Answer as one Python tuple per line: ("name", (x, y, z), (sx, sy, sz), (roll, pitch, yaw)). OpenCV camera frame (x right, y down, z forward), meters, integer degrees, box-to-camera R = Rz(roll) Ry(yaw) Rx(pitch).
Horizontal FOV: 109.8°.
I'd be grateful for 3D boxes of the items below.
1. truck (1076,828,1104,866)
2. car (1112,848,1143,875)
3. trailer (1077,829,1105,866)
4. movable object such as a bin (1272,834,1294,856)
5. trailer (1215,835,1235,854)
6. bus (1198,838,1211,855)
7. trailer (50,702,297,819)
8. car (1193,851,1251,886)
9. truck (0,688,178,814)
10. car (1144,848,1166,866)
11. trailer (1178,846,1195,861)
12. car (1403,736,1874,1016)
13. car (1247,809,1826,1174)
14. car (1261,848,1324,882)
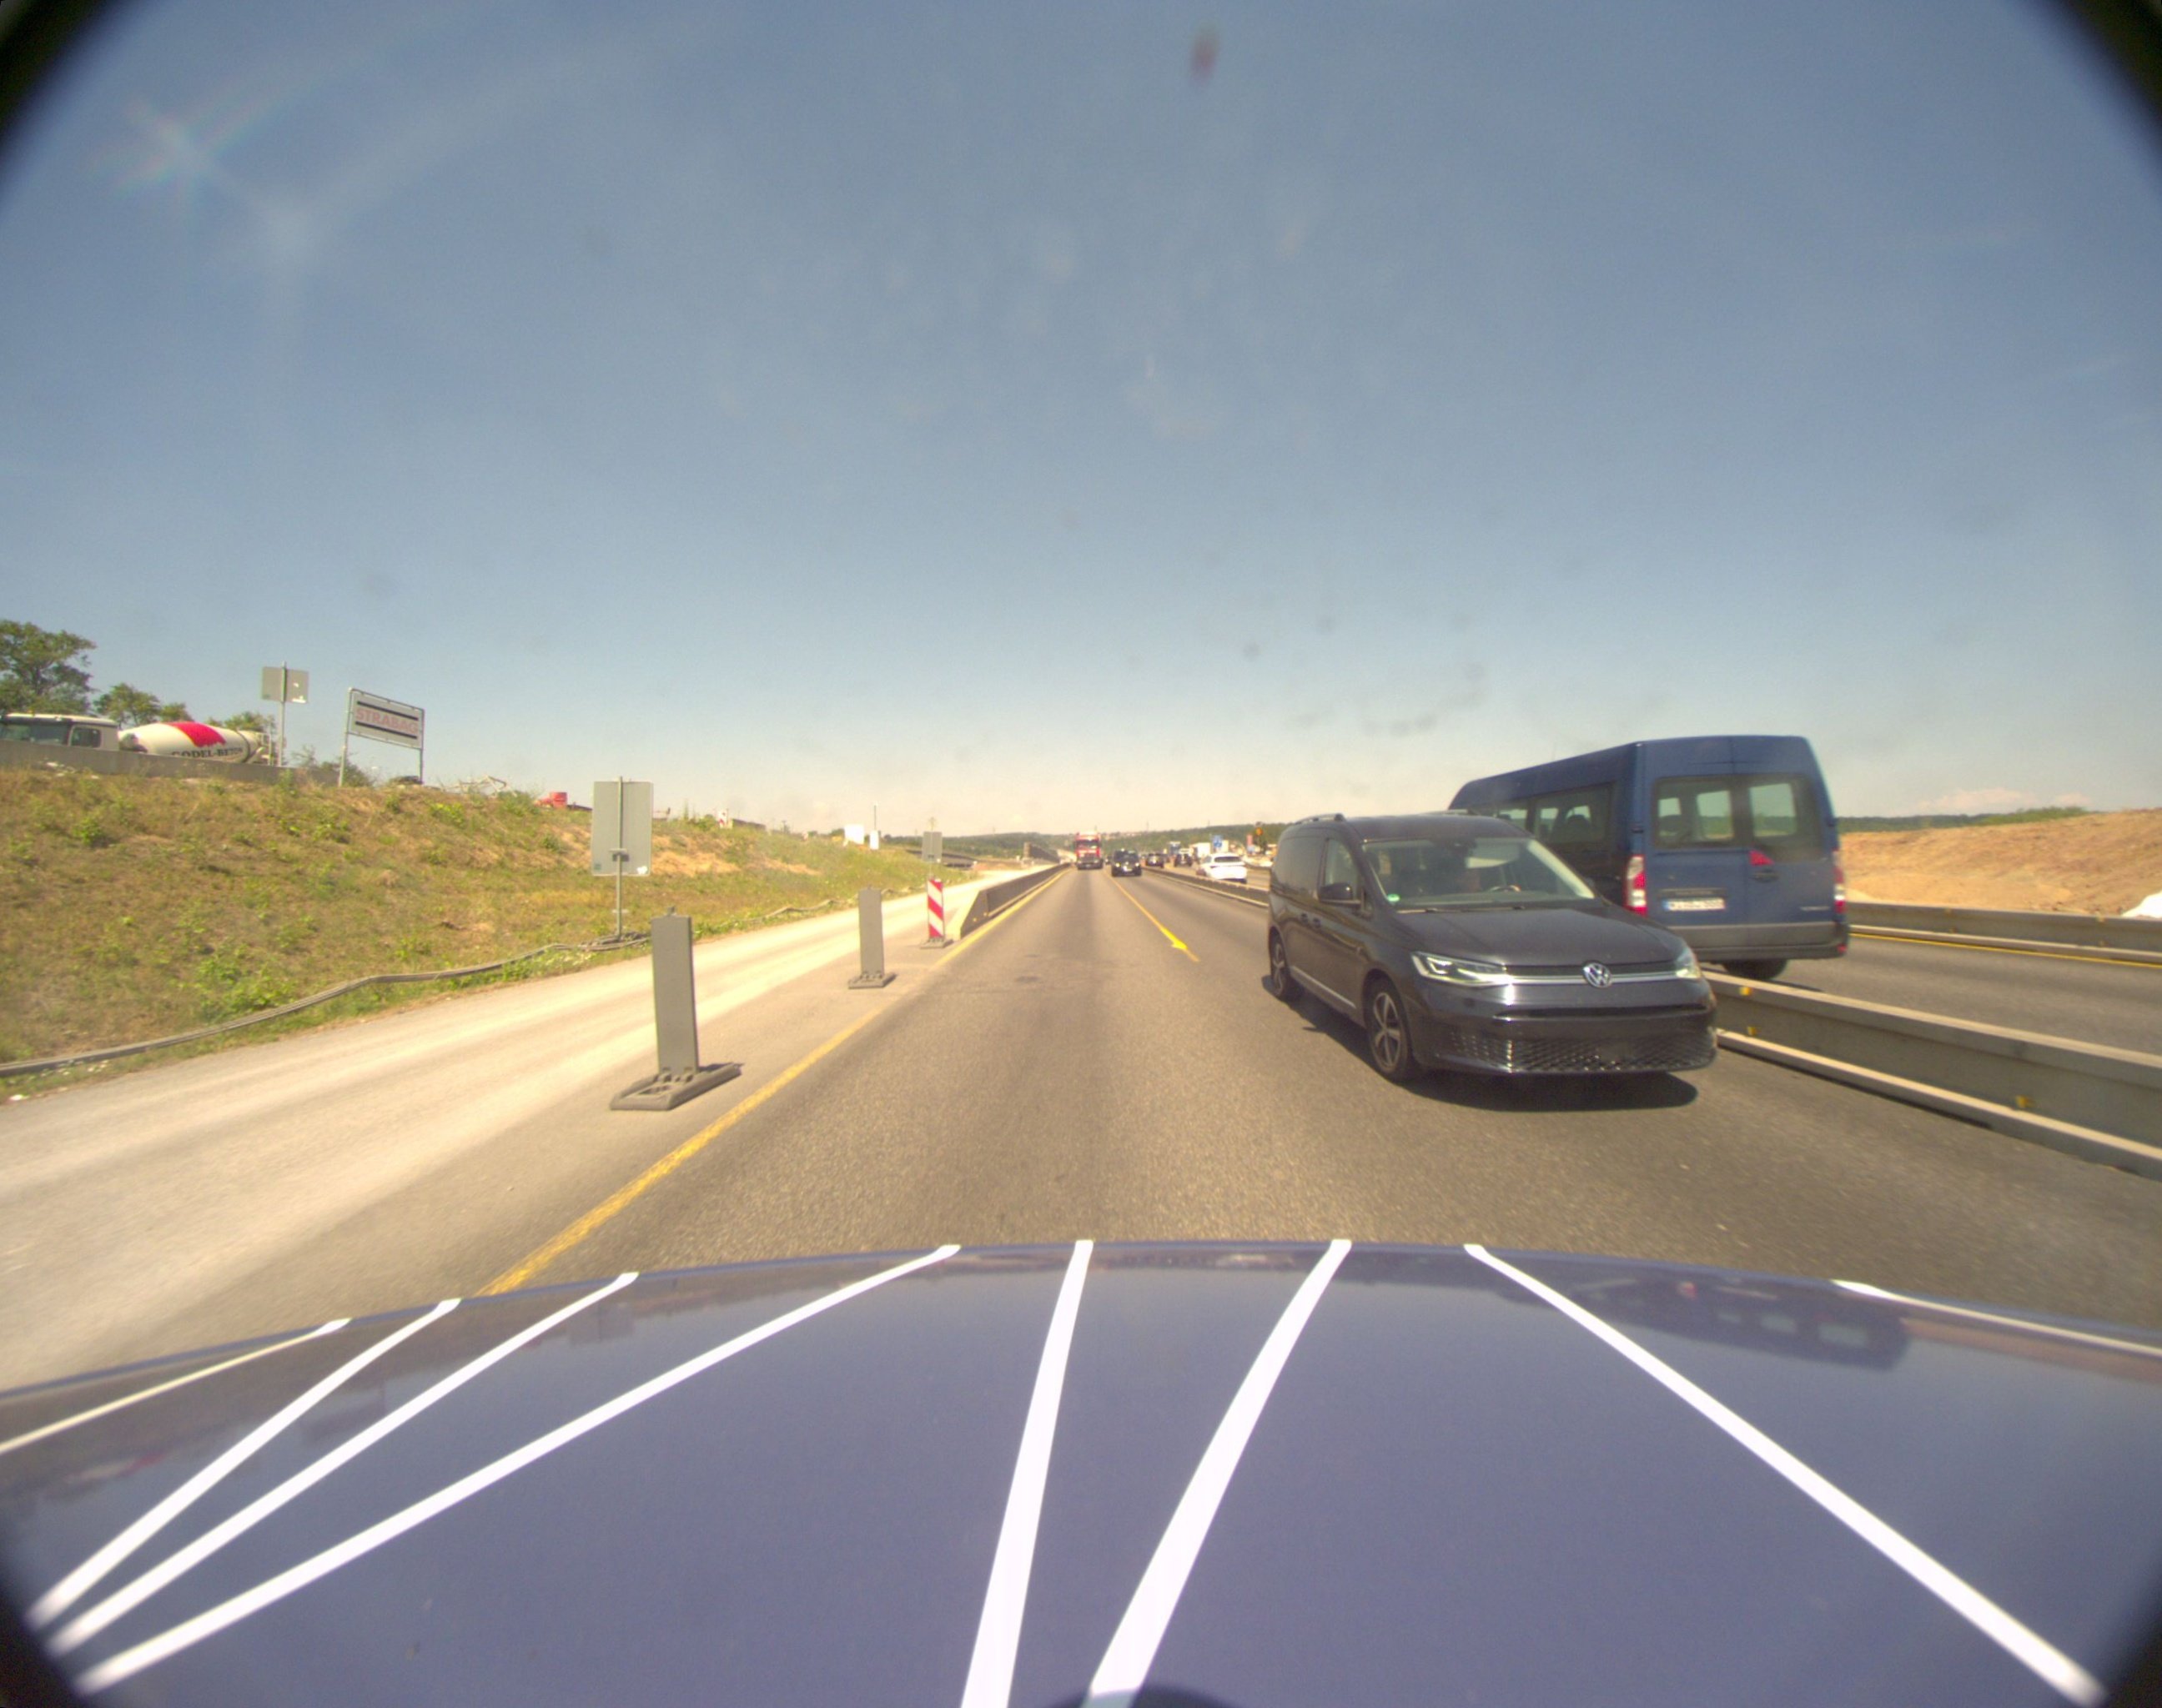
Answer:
("truck", (1.003, -0.733, 81.511), (2.626, 3.880, 4.934), (-1, 0, 3))
("car", (3.151, 0.472, 52.279), (1.799, 1.776, 3.999), (-1, 0, -1))
("trailer", (1.271, -0.734, 86.558), (2.701, 3.852, 12.424), (-1, 0, 3))
("movable object such as a bin", (41.318, -1.863, 155.240), (2.926, 4.304, 9.341), (-1, 0, 24))
("trailer", (32.199, -2.016, 169.348), (2.763, 4.090, 13.994), (-1, 0, 17))
("bus", (23.062, -1.326, 142.313), (2.353, 3.107, 7.233), (-1, 0, 8))
("trailer", (-37.637, -3.683, 32.007), (2.765, 4.090, 6.740), (-1, 0, -8))
("car", (6.259, 0.596, 34.201), (1.682, 1.433, 4.671), (-1, 0, 0))
("truck", (-37.090, -3.633, 28.010), (2.754, 4.072, 4.097), (-1, 1, -8))
("car", (7.439, 0.331, 76.949), (1.776, 1.731, 5.038), (-1, 0, 1))
("trailer", (13.709, -0.068, 99.077), (2.135, 1.970, 5.237), (0, 0, 6))
("car", (6.083, 0.190, 9.417), (1.960, 2.454, 5.357), (-1, 0, 1))
("car", (2.800, 0.686, 6.129), (1.926, 1.779, 4.603), (-2, 0, 1))
("car", (9.809, 0.488, 35.500), (1.729, 1.470, 4.393), (-1, 0, 0))
